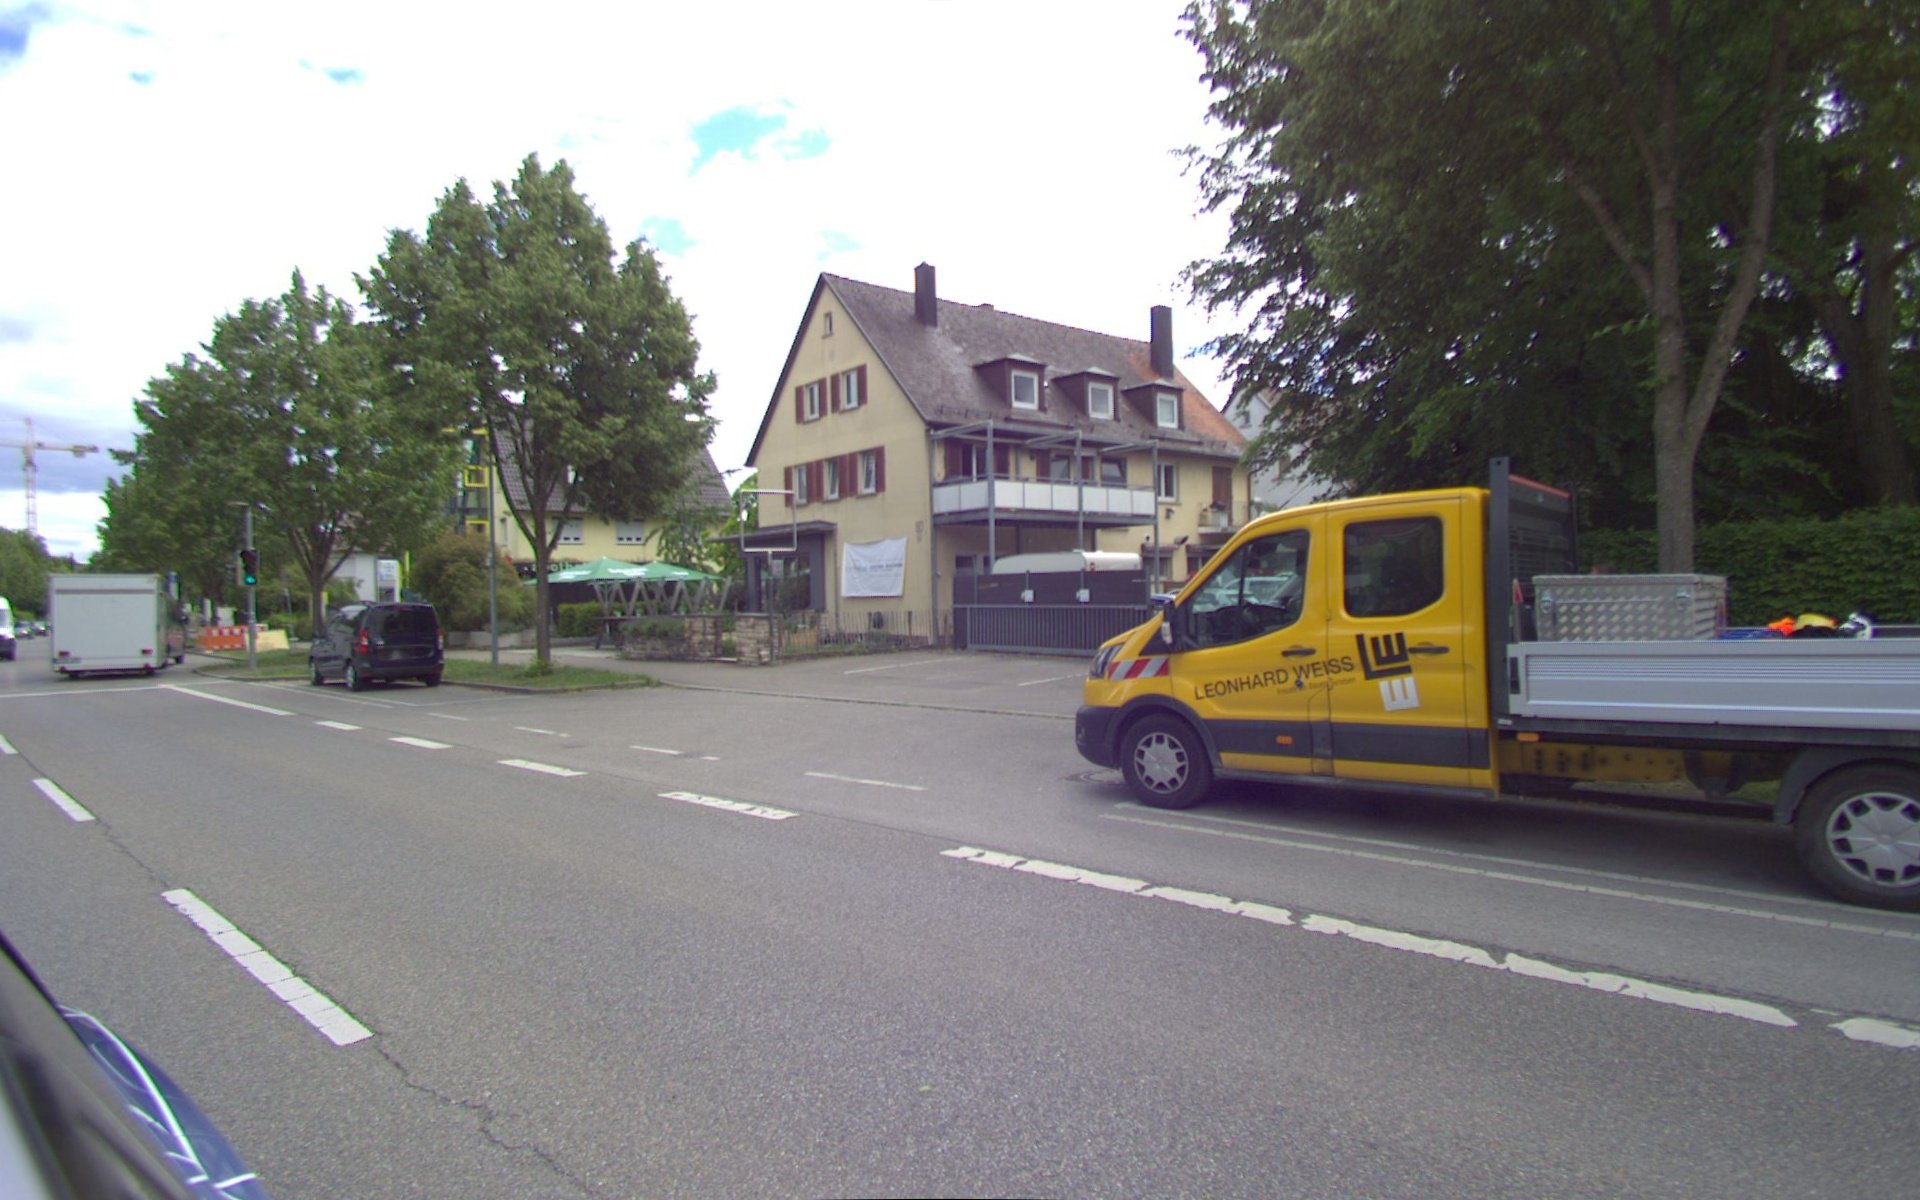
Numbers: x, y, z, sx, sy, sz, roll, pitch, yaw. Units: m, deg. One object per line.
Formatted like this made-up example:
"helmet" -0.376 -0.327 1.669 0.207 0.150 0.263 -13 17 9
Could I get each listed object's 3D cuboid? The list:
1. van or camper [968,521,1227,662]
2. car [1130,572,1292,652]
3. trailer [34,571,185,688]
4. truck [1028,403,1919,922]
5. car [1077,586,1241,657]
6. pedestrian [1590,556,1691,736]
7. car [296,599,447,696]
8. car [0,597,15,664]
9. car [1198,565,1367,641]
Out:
"van or camper" 3.080 -0.140 24.068 2.563 2.905 5.948 -1 -1 -39
"car" 6.842 0.319 27.955 1.967 2.029 4.010 -1 -1 -34
"trailer" -23.824 0.769 28.671 2.599 2.900 6.888 -1 -1 -34
"truck" 3.659 0.315 6.659 6.464 2.304 2.269 -2 -1 44
"car" 5.017 0.537 25.999 1.816 1.674 4.011 -1 -1 -33
"pedestrian" 6.952 0.450 10.340 0.722 1.755 0.634 -2 -1 44
"car" -12.838 0.968 21.965 4.399 1.888 1.688 -1 -1 44
"car" -39.158 1.251 40.382 1.969 2.619 4.005 -2 0 -42
"car" 9.205 0.107 29.238 1.966 2.029 4.340 -1 0 -33
